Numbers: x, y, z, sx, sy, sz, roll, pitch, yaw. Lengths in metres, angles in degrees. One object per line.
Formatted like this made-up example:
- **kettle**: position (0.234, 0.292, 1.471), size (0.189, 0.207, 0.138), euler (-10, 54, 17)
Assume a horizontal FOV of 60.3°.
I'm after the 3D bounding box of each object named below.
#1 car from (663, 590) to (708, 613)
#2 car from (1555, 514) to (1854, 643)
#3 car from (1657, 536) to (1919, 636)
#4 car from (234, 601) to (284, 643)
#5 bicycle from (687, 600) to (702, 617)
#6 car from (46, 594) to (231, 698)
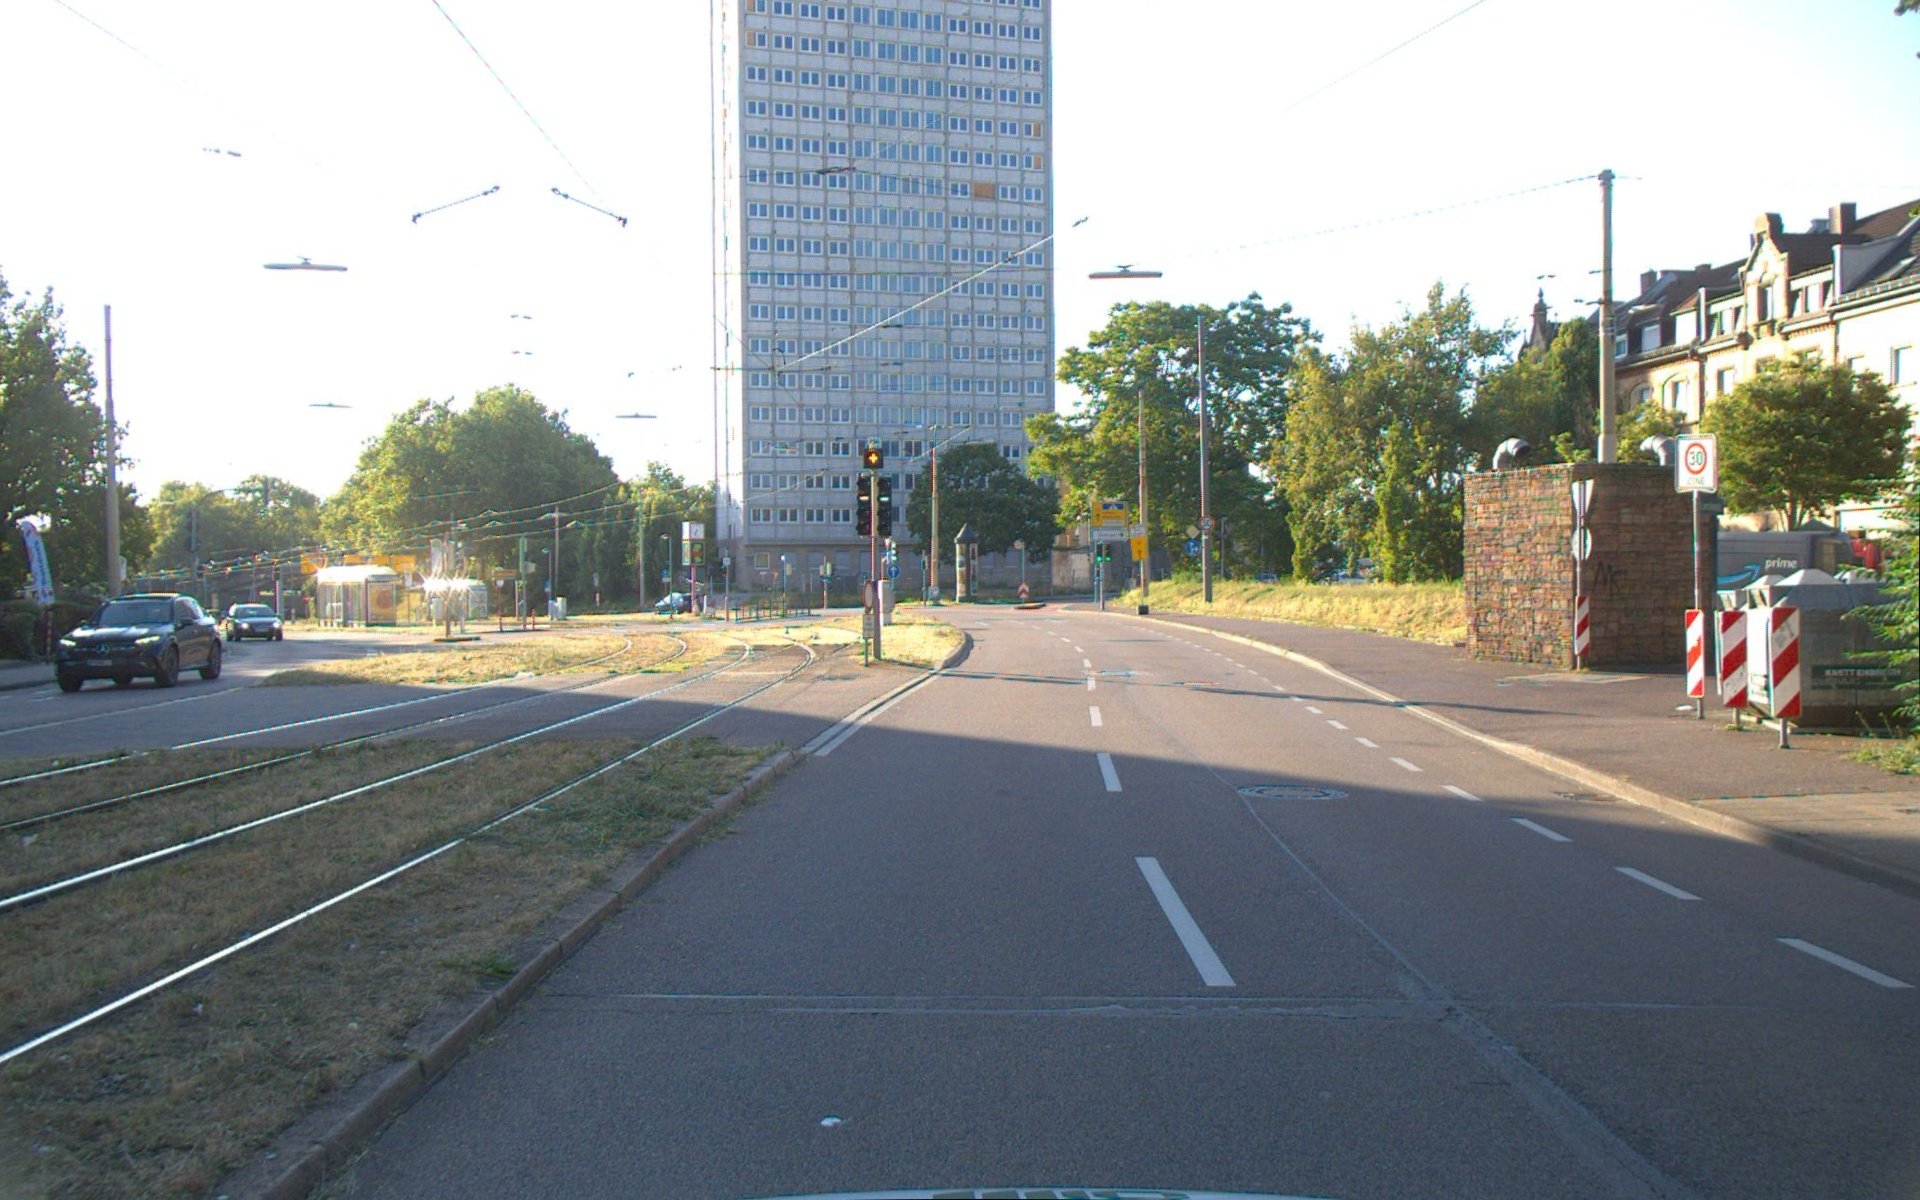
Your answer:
- **car**: position (-18.171, 0.131, 109.321), size (1.753, 1.447, 3.818), euler (-2, 1, -29)
- **car**: position (16.948, -0.464, 38.040), size (2.019, 2.712, 6.142), euler (-2, 1, -34)
- **car**: position (19.771, -0.307, 39.738), size (2.019, 2.252, 5.351), euler (-1, 0, -34)
- **car**: position (-28.516, 0.890, 67.309), size (1.752, 1.507, 4.368), euler (-4, 1, -23)
- **bicycle**: position (-15.311, 0.498, 95.408), size (0.542, 0.933, 1.743), euler (-3, 1, 1)
- **car**: position (-15.323, 0.783, 31.131), size (1.884, 1.691, 4.696), euler (-2, 1, -11)
